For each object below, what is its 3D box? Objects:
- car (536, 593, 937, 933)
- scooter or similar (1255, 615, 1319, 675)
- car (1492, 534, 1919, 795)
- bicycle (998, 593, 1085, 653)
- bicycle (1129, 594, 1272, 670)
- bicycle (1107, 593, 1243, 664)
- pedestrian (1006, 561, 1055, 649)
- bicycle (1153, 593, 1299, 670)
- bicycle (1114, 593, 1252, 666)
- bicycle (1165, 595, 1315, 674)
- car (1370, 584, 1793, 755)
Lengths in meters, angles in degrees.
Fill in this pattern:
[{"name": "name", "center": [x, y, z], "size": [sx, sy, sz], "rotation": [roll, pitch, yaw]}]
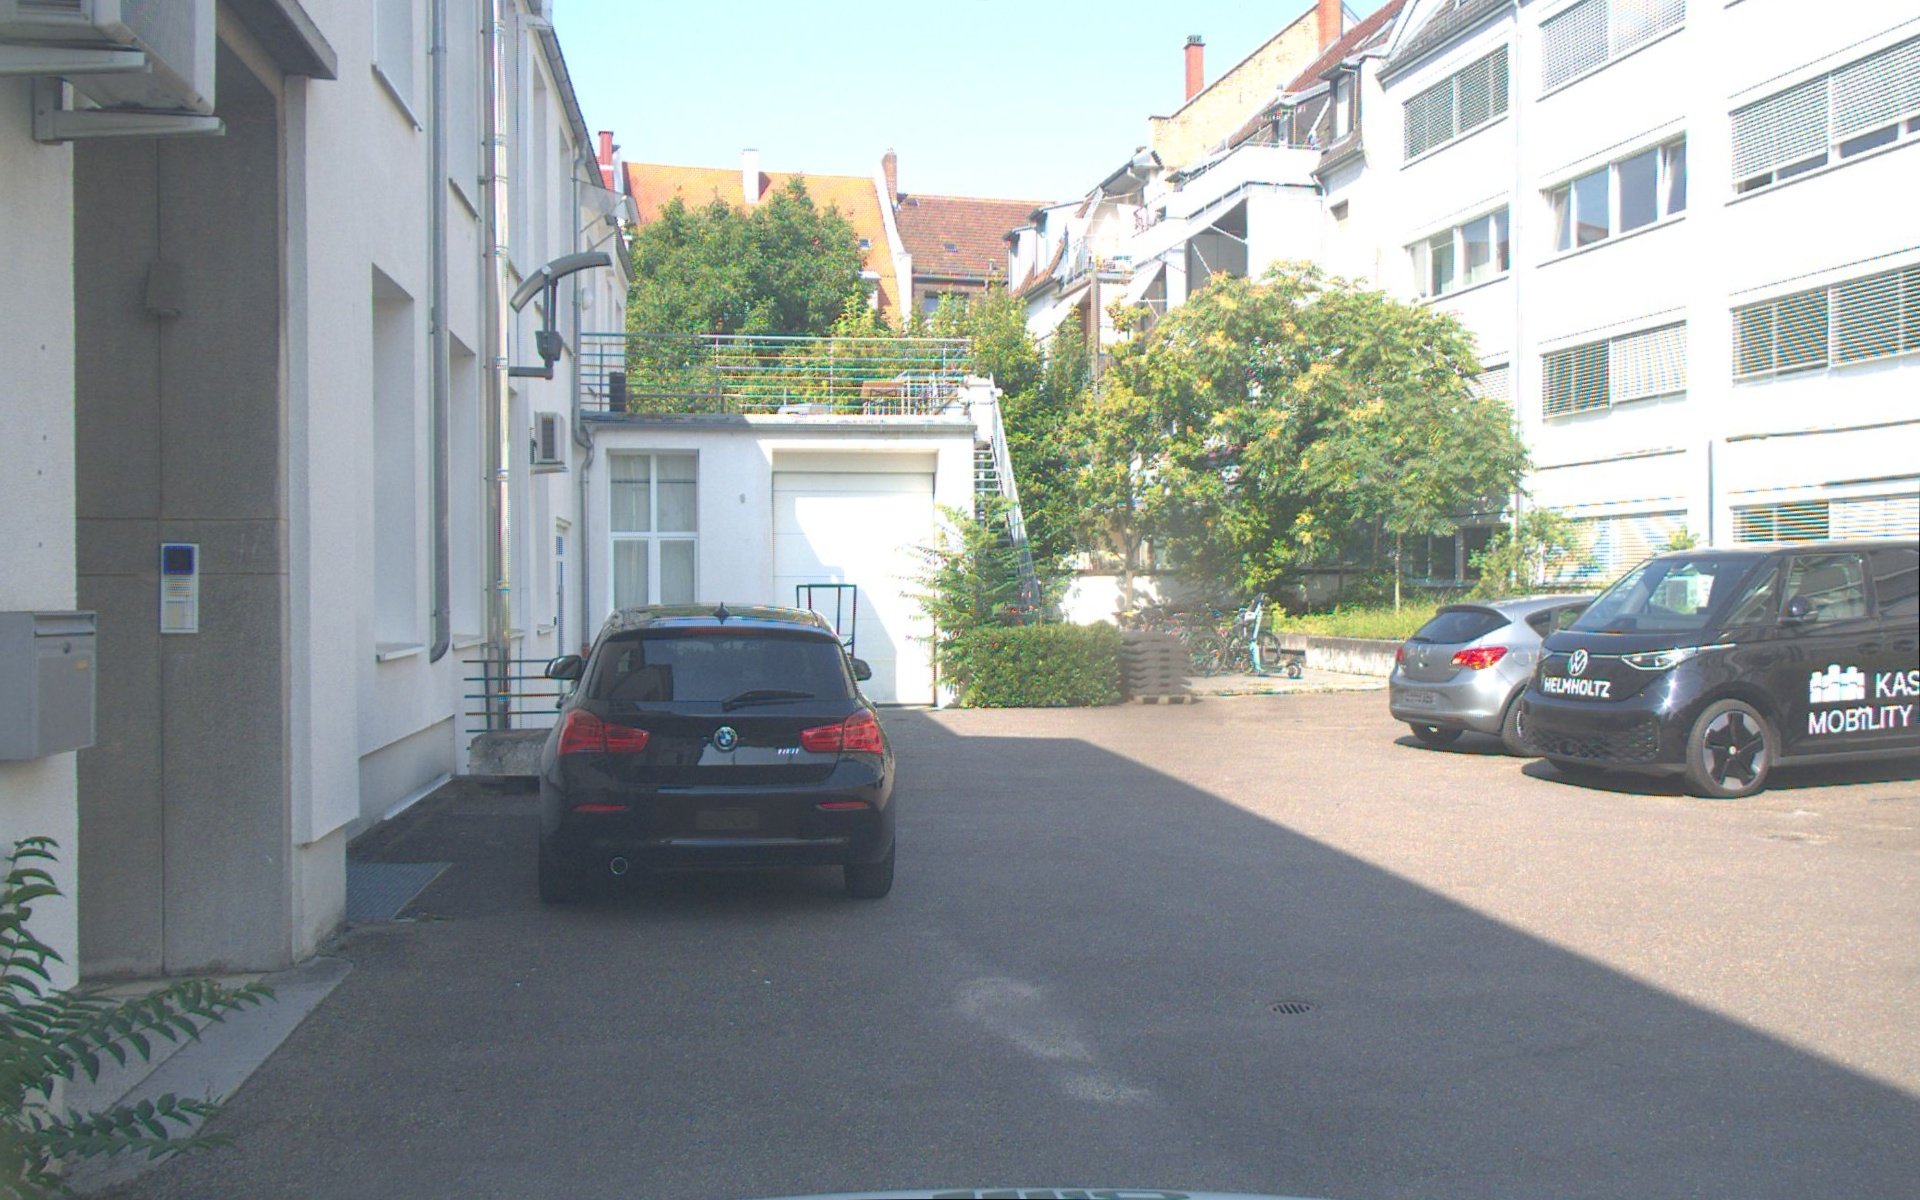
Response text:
[{"name": "car", "center": [-1.343, 0.704, 9.377], "size": [1.760, 1.453, 4.126], "rotation": [0, 0, -10]}, {"name": "scooter or similar", "center": [5.265, 0.714, 26.650], "size": [0.983, 0.940, 0.358], "rotation": [1, 0, 45]}, {"name": "car", "center": [6.771, 0.428, 13.603], "size": [4.267, 1.891, 1.905], "rotation": [-1, 1, -18]}, {"name": "bicycle", "center": [1.704, 0.467, 34.265], "size": [1.975, 1.163, 0.483], "rotation": [-2, 2, -40]}, {"name": "bicycle", "center": [4.122, 0.546, 28.379], "size": [2.366, 1.268, 0.525], "rotation": [0, 0, -8]}, {"name": "bicycle", "center": [3.863, 0.510, 29.709], "size": [2.366, 1.268, 0.525], "rotation": [0, 0, -8]}, {"name": "pedestrian", "center": [1.463, 0.091, 34.341], "size": [0.605, 1.802, 0.849], "rotation": [0, 0, -40]}, {"name": "bicycle", "center": [4.440, 0.527, 27.647], "size": [2.366, 1.268, 0.525], "rotation": [0, 0, -8]}, {"name": "bicycle", "center": [3.917, 0.511, 29.075], "size": [2.366, 1.268, 0.525], "rotation": [0, 0, -9]}, {"name": "bicycle", "center": [4.566, 0.563, 27.014], "size": [2.366, 1.268, 0.525], "rotation": [0, 0, -8]}, {"name": "car", "center": [6.168, 0.615, 16.431], "size": [3.841, 1.491, 1.652], "rotation": [-1, 1, -22]}]
